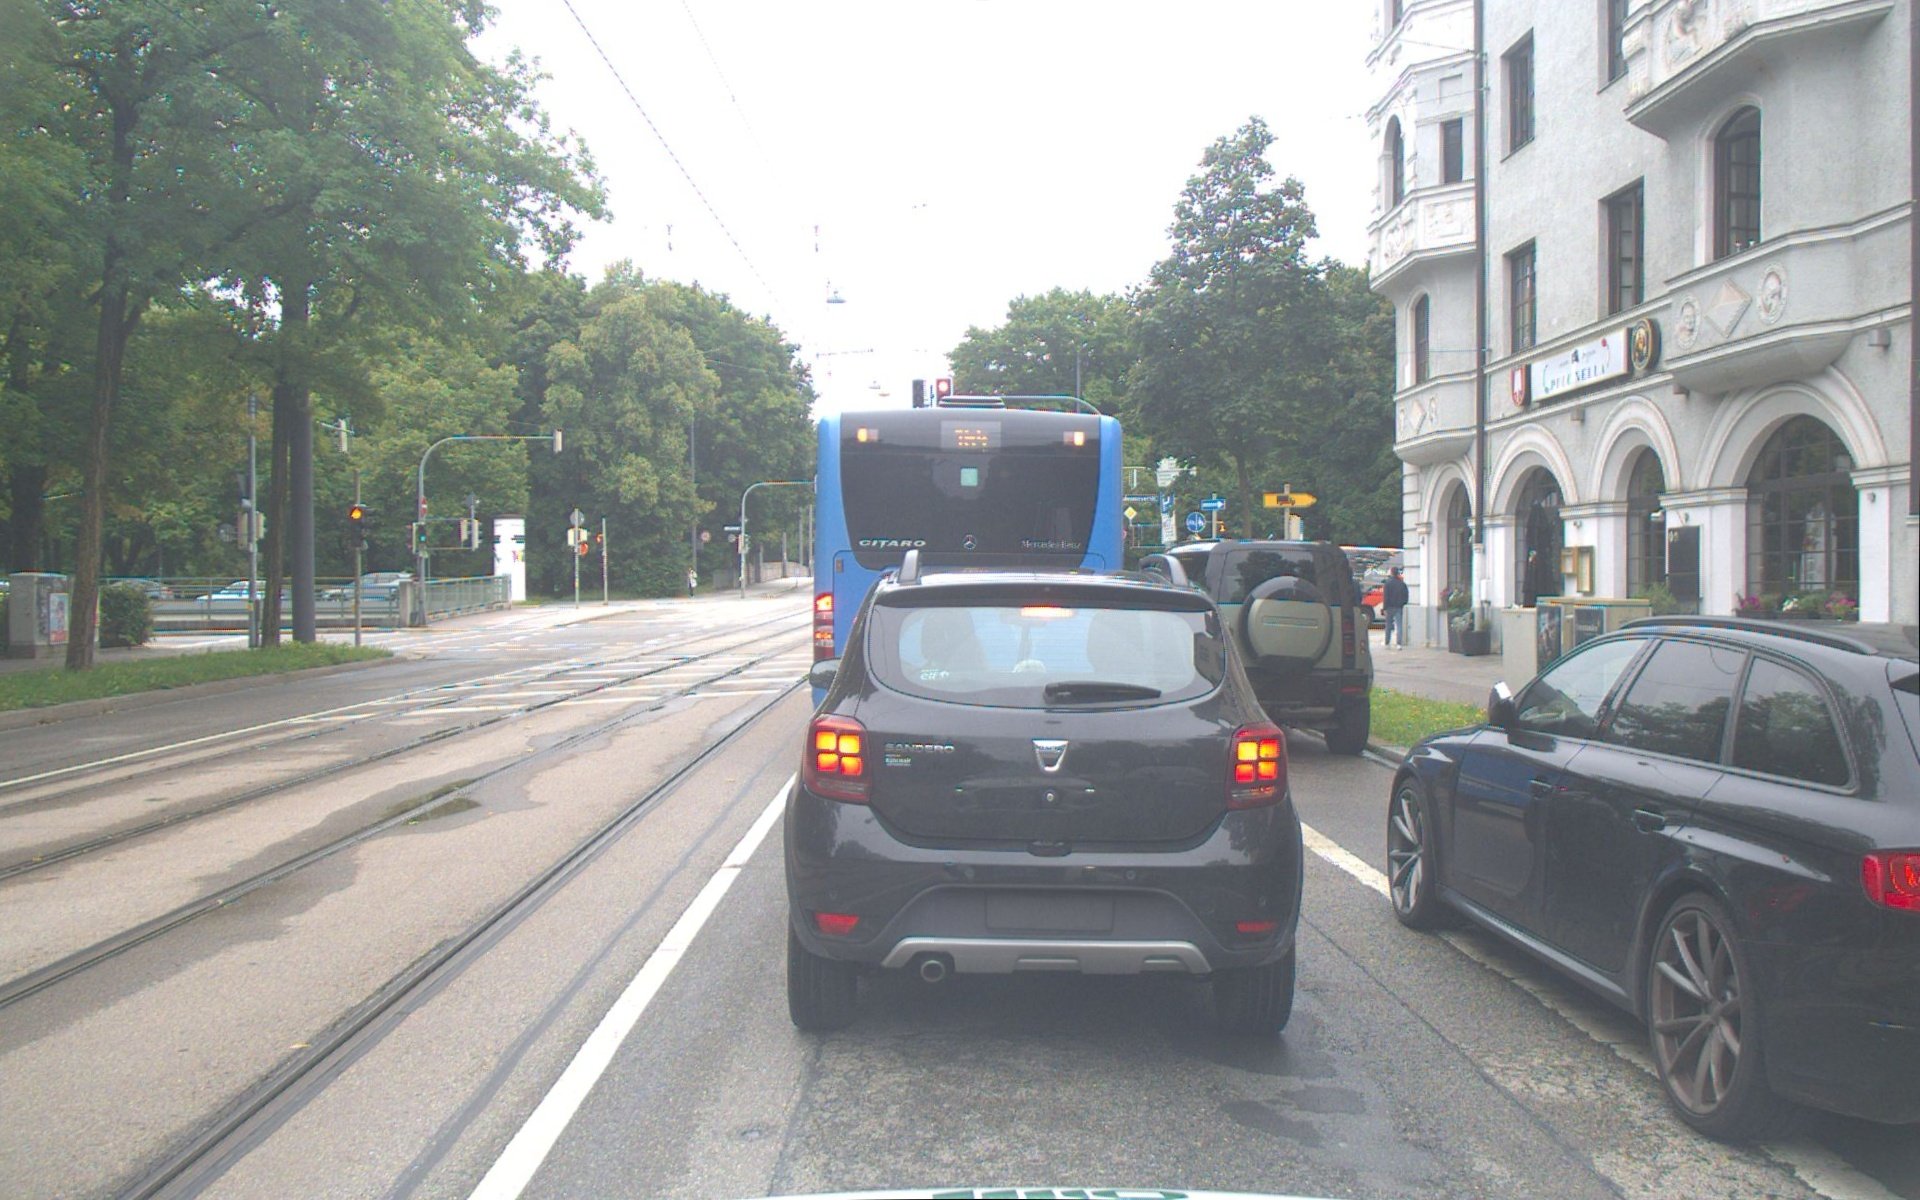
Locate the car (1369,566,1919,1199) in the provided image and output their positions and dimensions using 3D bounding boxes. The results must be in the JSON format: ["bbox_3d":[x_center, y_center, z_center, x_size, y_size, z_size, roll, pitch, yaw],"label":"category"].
[{"bbox_3d":[2.913,0.658,5.838,1.681,1.451,4.601,1,0,-1],"label":"car"}]

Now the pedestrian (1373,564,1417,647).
[{"bbox_3d":[9.454,0.120,35.941,0.690,1.762,0.843,1,0,-1],"label":"pedestrian"}]

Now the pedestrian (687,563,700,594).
[{"bbox_3d":[-13.614,-1.095,84.462,0.520,1.527,0.588,1,0,4],"label":"pedestrian"}]

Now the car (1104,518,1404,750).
[{"bbox_3d":[2.724,0.278,16.513,1.876,1.939,4.805,1,0,-3],"label":"car"}]

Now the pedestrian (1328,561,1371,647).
[{"bbox_3d":[8.556,0.089,36.331,0.690,1.848,0.869,1,0,-1],"label":"pedestrian"}]

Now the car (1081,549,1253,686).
[{"bbox_3d":[2.670,0.201,22.220,1.679,1.619,4.326,1,0,-1],"label":"car"}]

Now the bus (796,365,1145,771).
[{"bbox_3d":[-0.066,-0.256,16.188,2.625,3.050,6.957,1,0,-3],"label":"bus"}]

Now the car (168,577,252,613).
[{"bbox_3d":[-32.612,-0.223,71.945,3.050,1.477,1.249,1,0,-6],"label":"car"}]

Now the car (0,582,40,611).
[{"bbox_3d":[-41.943,-0.178,71.366,3.656,1.206,1.249,1,0,-6],"label":"car"}]

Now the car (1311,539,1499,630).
[{"bbox_3d":[13.833,-0.485,51.617,5.191,2.658,2.229,1,0,-4],"label":"car"}]

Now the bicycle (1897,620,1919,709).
[{"bbox_3d":[10.453,0.697,17.773,0.254,0.947,0.886,1,0,0],"label":"bicycle"}]

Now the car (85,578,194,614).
[{"bbox_3d":[-35.622,-0.166,71.877,3.848,1.429,1.719,1,0,-5],"label":"car"}]

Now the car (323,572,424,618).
[{"bbox_3d":[-25.783,-0.207,72.796,3.946,1.920,1.488,1,0,-8],"label":"car"}]

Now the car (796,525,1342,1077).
[{"bbox_3d":[0.284,0.583,6.603,1.568,1.584,3.524,1,0,-1],"label":"car"}]
